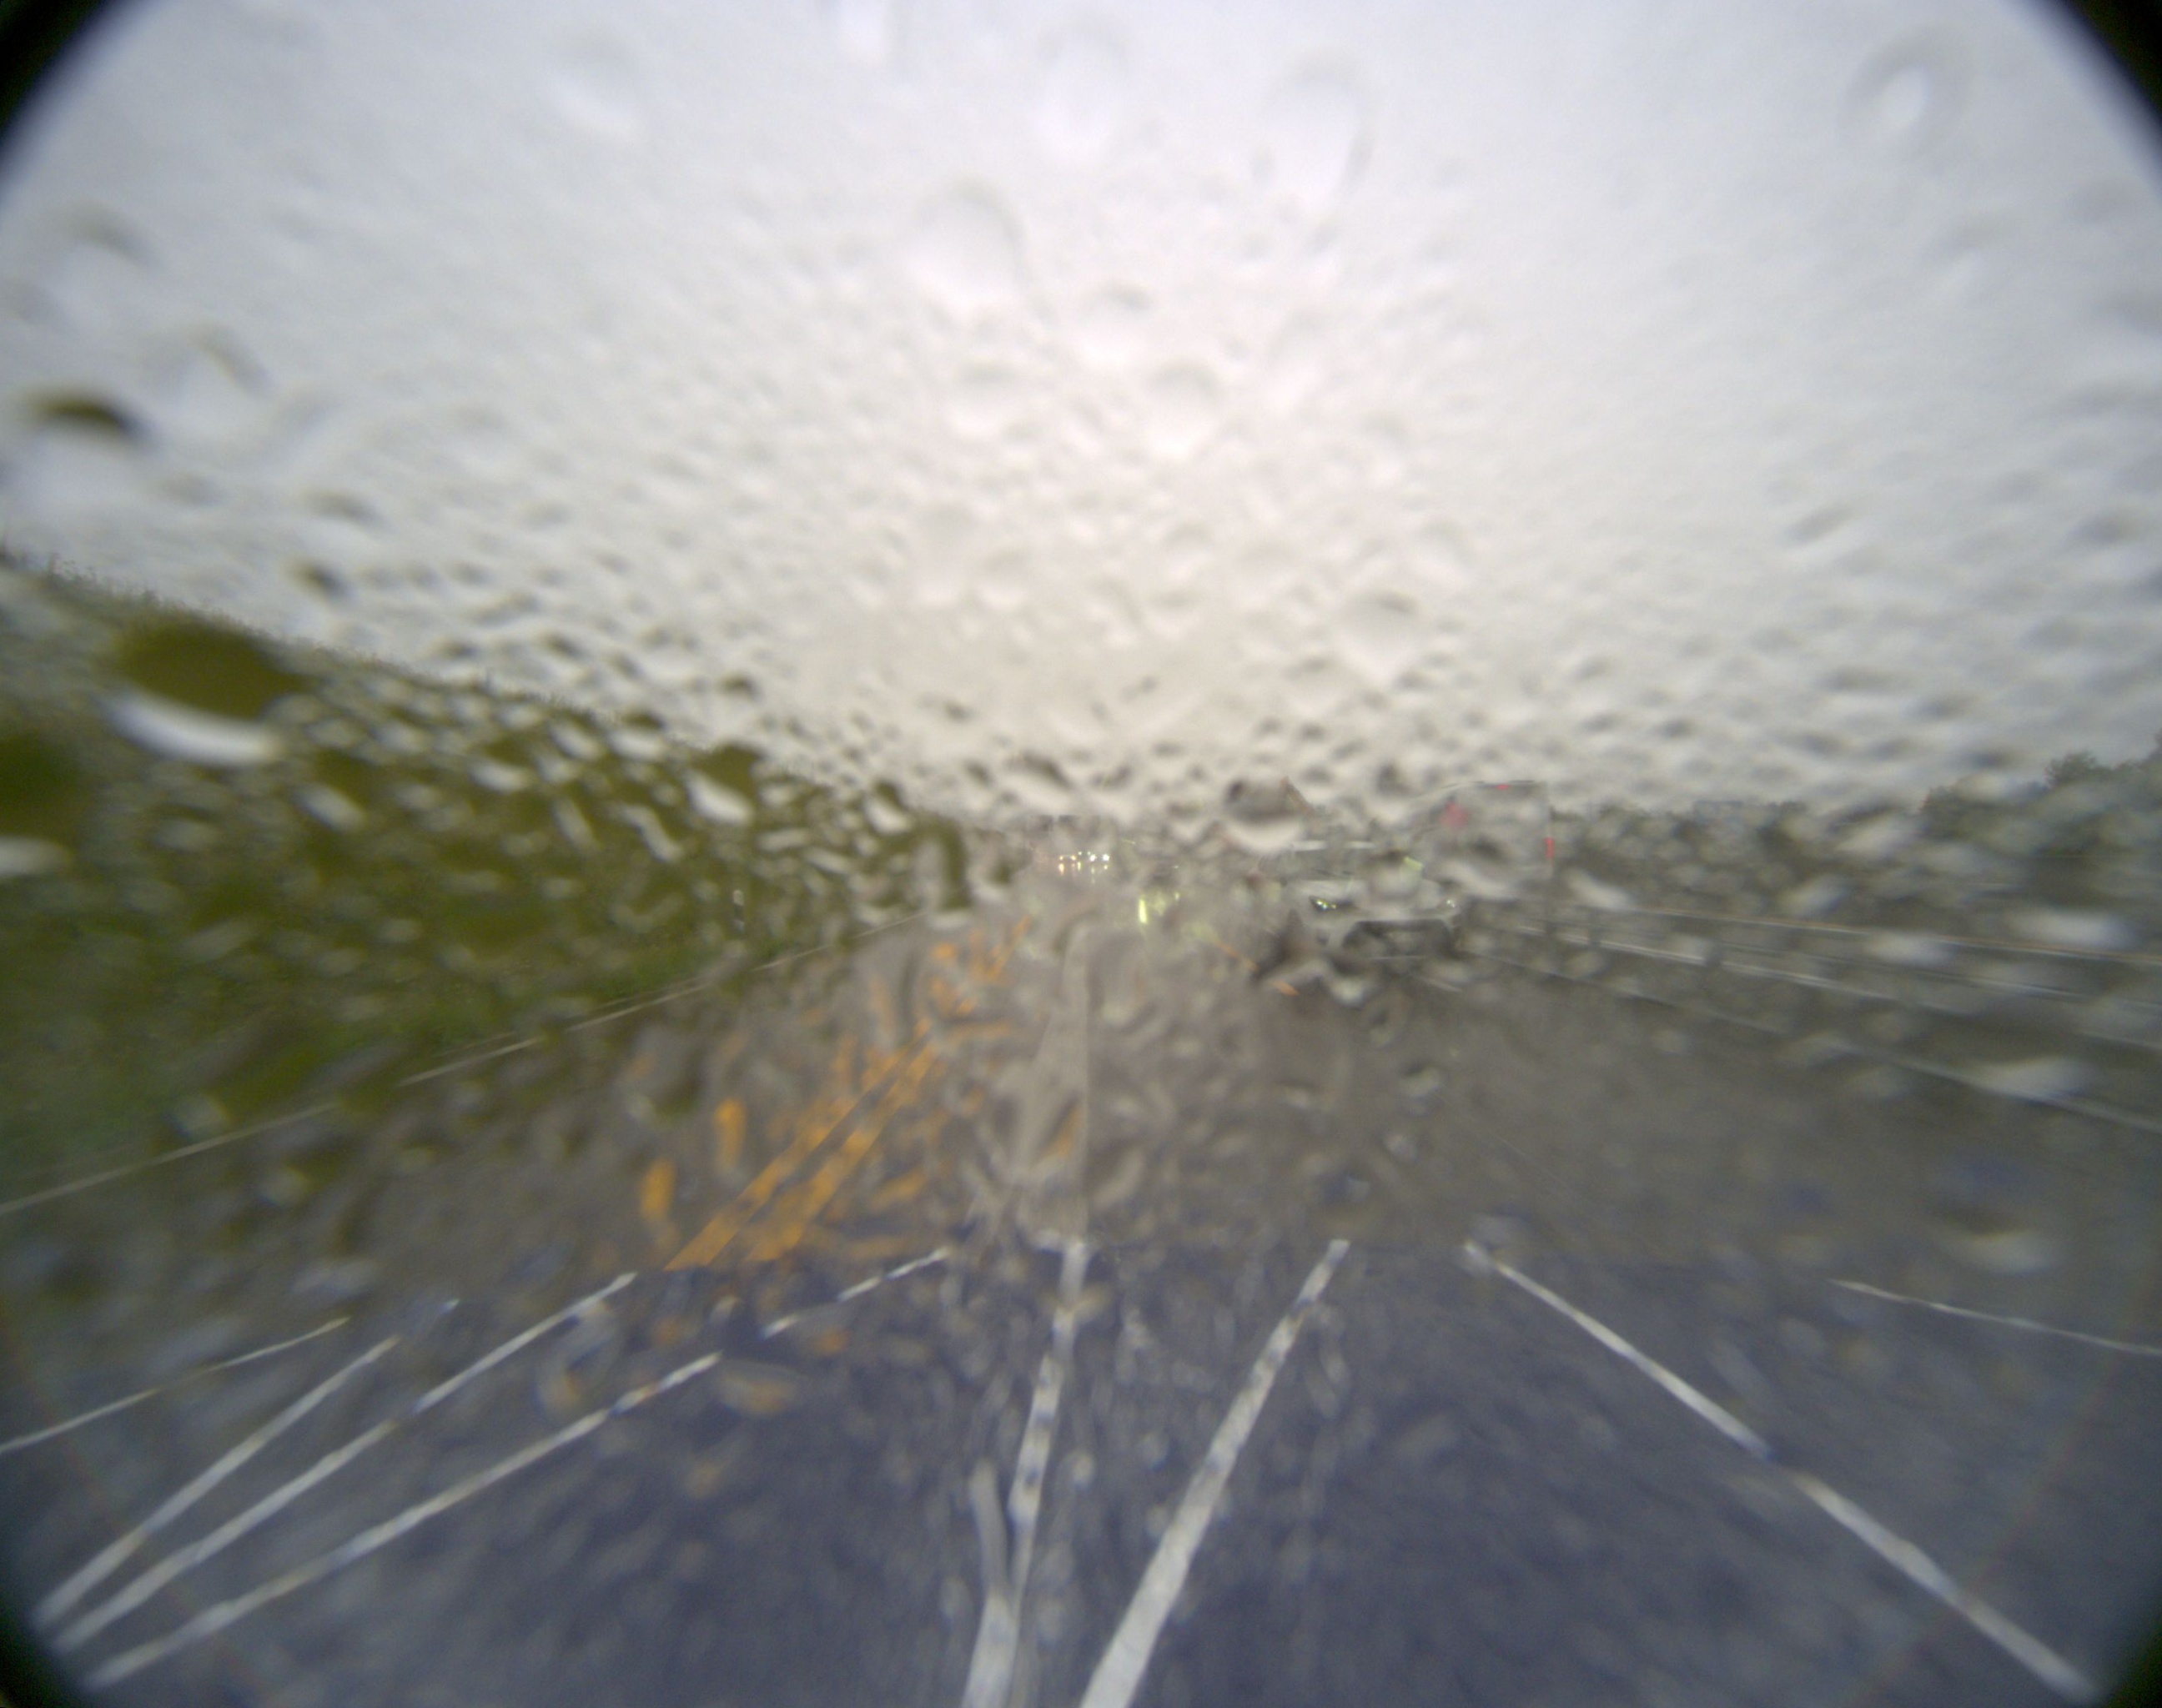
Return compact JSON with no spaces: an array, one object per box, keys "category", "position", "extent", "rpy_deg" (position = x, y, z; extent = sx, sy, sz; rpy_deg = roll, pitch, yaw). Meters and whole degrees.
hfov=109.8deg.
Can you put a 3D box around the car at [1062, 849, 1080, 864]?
[{"category":"car","position":[-1.192,0.269,91.313],"extent":[1.881,1.772,4.000],"rpy_deg":[0,1,2]}]

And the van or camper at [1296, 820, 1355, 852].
[{"category":"van or camper","position":[27.404,-2.018,85.270],"extent":[5.420,3.325,3.377],"rpy_deg":[-2,1,-1]}]

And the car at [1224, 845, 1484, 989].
[{"category":"car","position":[3.423,0.658,10.714],"extent":[1.932,1.542,5.006],"rpy_deg":[-1,1,1]}]

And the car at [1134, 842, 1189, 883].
[{"category":"car","position":[3.419,0.328,33.188],"extent":[2.069,1.618,5.196],"rpy_deg":[-1,1,3]}]

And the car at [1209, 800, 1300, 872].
[{"category":"car","position":[10.142,-1.015,45.563],"extent":[3.305,3.718,9.399],"rpy_deg":[-2,1,1]}]

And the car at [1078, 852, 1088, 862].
[{"category":"car","position":[0.325,0.461,122.144],"extent":[1.589,1.528,3.831],"rpy_deg":[0,1,0]}]

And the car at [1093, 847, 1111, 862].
[{"category":"car","position":[2.230,0.005,79.876],"extent":[1.792,1.480,4.000],"rpy_deg":[-2,1,1]}]

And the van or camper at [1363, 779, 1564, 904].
[{"category":"van or camper","position":[10.332,-0.333,21.335],"extent":[2.491,2.902,6.222],"rpy_deg":[-2,1,1]}]

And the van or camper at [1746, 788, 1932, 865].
[{"category":"van or camper","position":[47.721,-1.642,48.355],"extent":[3.375,4.299,8.505],"rpy_deg":[-2,1,1]}]
